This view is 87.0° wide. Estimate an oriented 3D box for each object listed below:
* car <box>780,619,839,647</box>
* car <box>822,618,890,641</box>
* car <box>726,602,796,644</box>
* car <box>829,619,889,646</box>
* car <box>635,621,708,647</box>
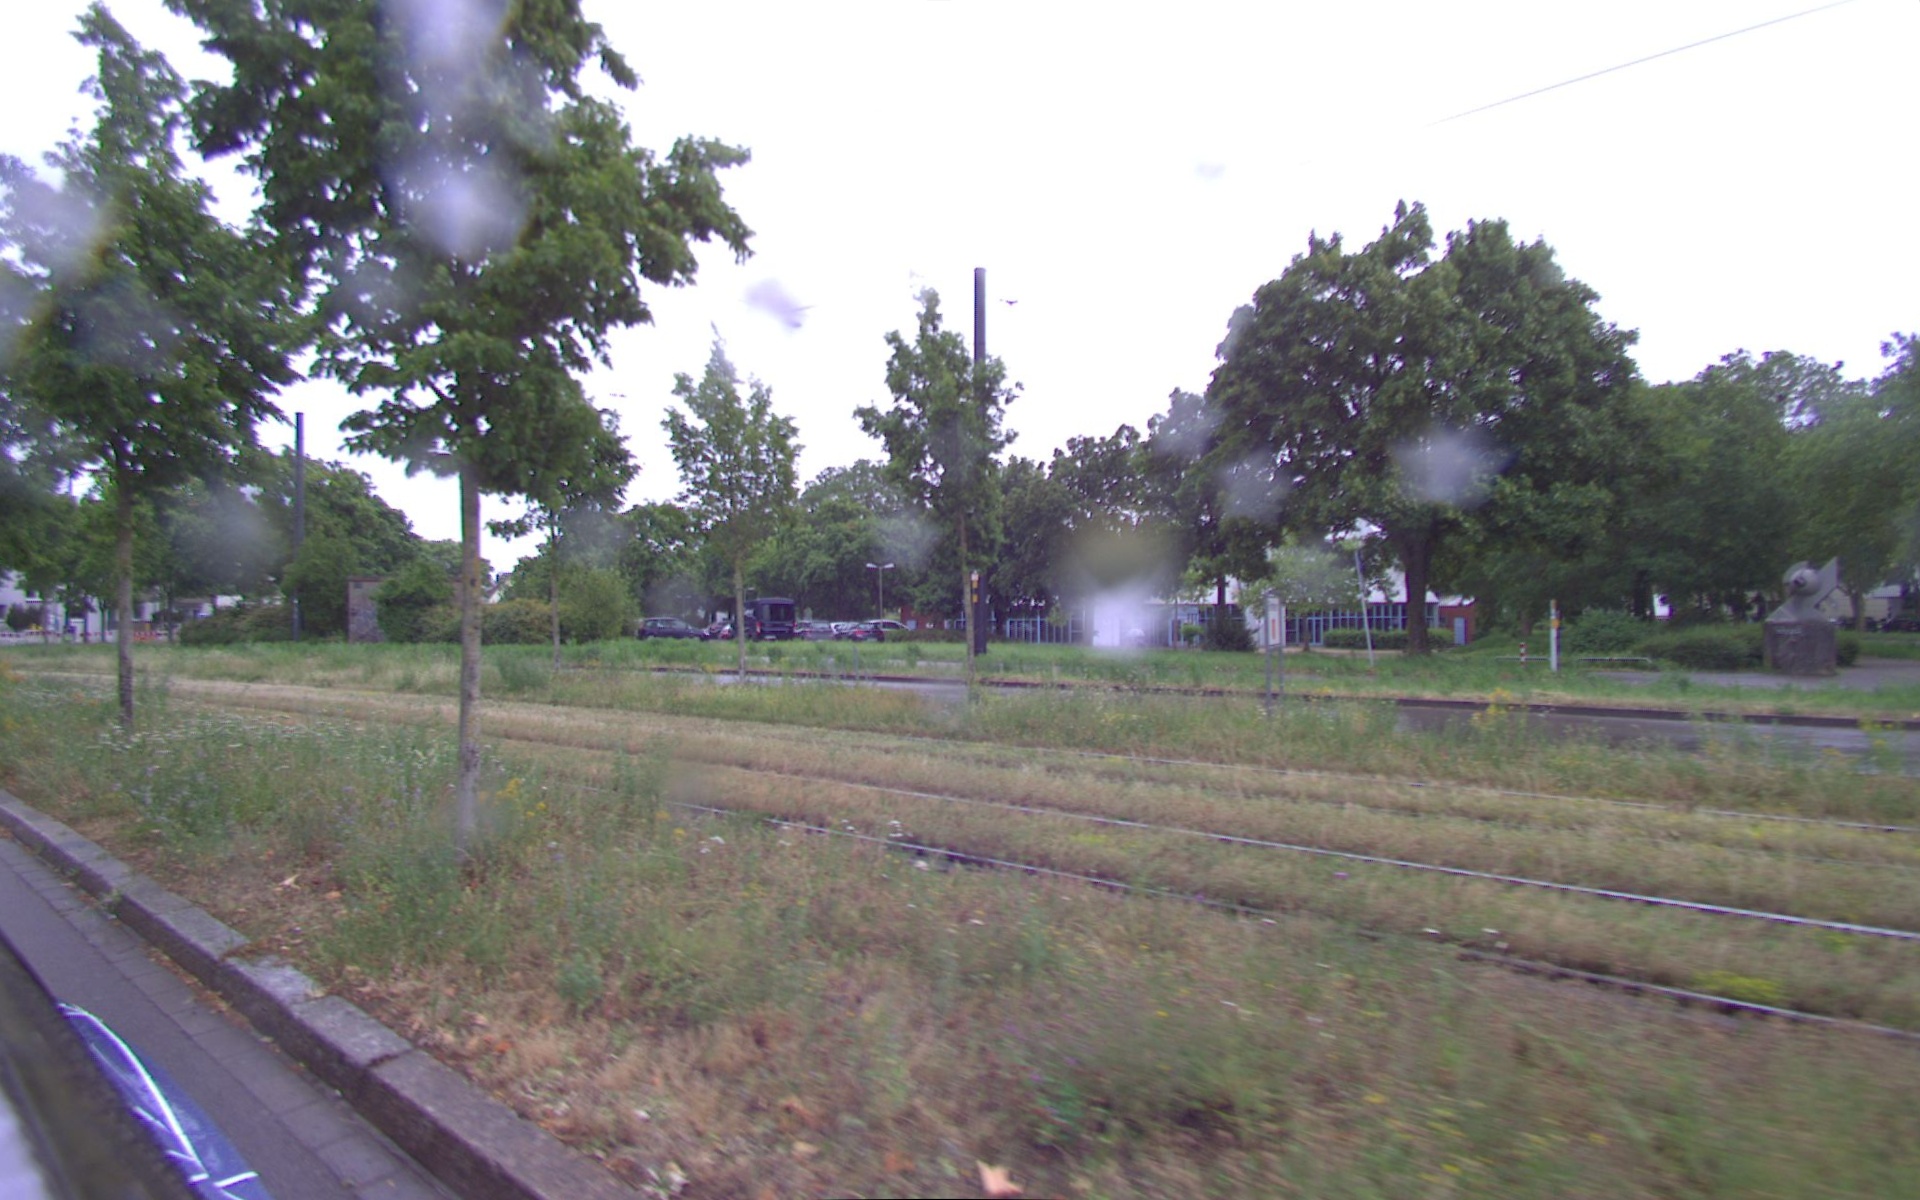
[{"bbox_3d":[-7.674,1.660,51.304,1.805,1.349,4.111,1,-2,-25],"label":"car"},{"bbox_3d":[-6.644,1.860,64.687,3.991,1.445,1.696,0,-1,-22],"label":"car"},{"bbox_3d":[-9.829,1.155,49.728,2.002,1.962,4.729,1,-2,-29],"label":"car"},{"bbox_3d":[-5.252,1.685,52.169,1.805,1.349,4.111,1,-2,-25],"label":"car"},{"bbox_3d":[-17.088,1.996,60.013,3.991,1.445,1.696,0,-1,-22],"label":"car"}]
